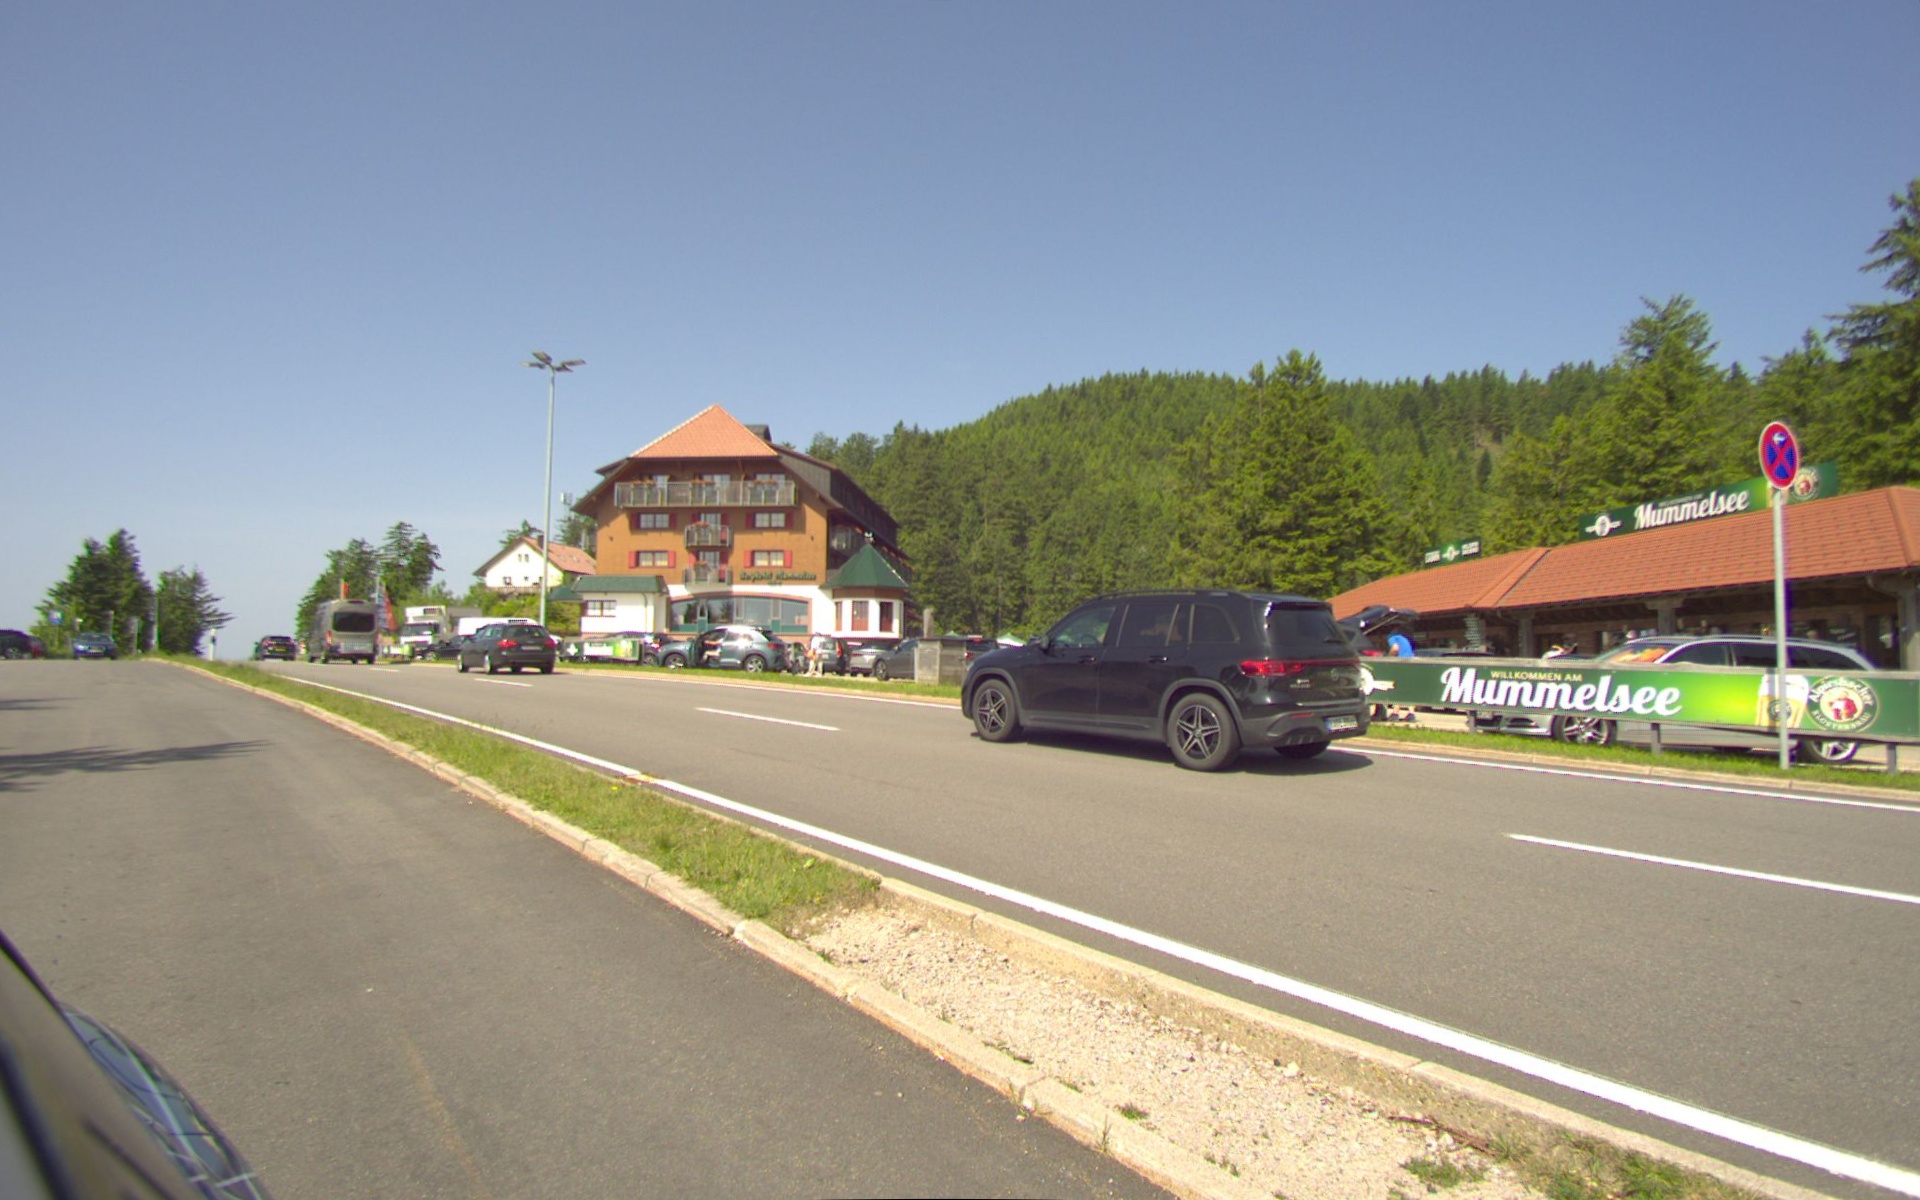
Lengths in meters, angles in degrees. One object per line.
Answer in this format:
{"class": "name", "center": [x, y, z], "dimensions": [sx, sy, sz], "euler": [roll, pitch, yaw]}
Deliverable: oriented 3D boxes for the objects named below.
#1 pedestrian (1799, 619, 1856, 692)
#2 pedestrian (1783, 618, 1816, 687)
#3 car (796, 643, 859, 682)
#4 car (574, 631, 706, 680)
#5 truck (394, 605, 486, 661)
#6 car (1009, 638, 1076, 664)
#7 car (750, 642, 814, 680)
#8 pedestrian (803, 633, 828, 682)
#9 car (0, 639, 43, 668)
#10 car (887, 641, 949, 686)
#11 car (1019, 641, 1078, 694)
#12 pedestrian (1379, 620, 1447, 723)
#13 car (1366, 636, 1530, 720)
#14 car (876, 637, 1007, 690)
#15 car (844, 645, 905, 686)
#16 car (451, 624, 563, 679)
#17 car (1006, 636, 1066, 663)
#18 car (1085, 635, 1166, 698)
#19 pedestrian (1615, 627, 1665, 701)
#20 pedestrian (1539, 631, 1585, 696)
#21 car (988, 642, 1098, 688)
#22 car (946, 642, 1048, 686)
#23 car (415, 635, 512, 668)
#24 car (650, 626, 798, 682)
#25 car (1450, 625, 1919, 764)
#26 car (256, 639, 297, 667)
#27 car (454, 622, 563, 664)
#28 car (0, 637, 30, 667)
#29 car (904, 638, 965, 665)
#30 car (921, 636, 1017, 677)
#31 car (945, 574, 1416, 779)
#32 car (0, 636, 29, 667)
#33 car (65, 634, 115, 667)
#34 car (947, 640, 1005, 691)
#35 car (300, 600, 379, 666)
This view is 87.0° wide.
{"class": "pedestrian", "center": [21.357, 1.365, 24.929], "dimensions": [0.741, 1.750, 0.800], "euler": [0, -2, 12]}
{"class": "pedestrian", "center": [21.513, 1.342, 25.929], "dimensions": [0.662, 1.750, 0.556], "euler": [3, -3, -44]}
{"class": "car", "center": [-5.451, 2.558, 42.050], "dimensions": [1.800, 1.524, 4.089], "euler": [1, -3, 4]}
{"class": "car", "center": [-11.613, 2.027, 36.943], "dimensions": [4.213, 1.641, 1.823], "euler": [1, -3, 2]}
{"class": "truck", "center": [-38.533, 2.493, 75.418], "dimensions": [2.841, 3.850, 9.024], "euler": [-1, -2, -4]}
{"class": "car", "center": [5.957, 3.725, 73.711], "dimensions": [4.782, 1.729, 1.918], "euler": [1, -3, 3]}
{"class": "car", "center": [-7.639, 2.605, 43.770], "dimensions": [1.800, 1.524, 4.089], "euler": [1, -3, 4]}
{"class": "pedestrian", "center": [-4.878, 1.926, 34.123], "dimensions": [0.734, 1.637, 0.685], "euler": [1, -3, -11]}
{"class": "car", "center": [-55.778, 3.065, 58.533], "dimensions": [3.850, 1.627, 1.880], "euler": [3, -3, -39]}
{"class": "car", "center": [-1.489, 2.319, 37.293], "dimensions": [1.800, 1.524, 4.089], "euler": [1, -3, 4]}
{"class": "car", "center": [2.904, 2.211, 33.823], "dimensions": [1.800, 1.641, 4.089], "euler": [1, -3, 4]}
{"class": "pedestrian", "center": [7.524, 1.178, 16.841], "dimensions": [0.735, 1.648, 0.847], "euler": [1, -3, -1]}
{"class": "car", "center": [11.111, 1.744, 23.399], "dimensions": [1.895, 1.729, 4.091], "euler": [1, -3, 2]}
{"class": "car", "center": [-0.616, 1.861, 30.132], "dimensions": [1.695, 1.441, 4.005], "euler": [4, -3, -41]}
{"class": "car", "center": [-3.321, 2.570, 40.215], "dimensions": [1.800, 1.524, 4.089], "euler": [1, -3, 4]}
{"class": "car", "center": [-12.984, 1.444, 28.854], "dimensions": [1.685, 1.449, 4.456], "euler": [3, -3, -41]}
{"class": "car", "center": [5.206, 3.431, 69.683], "dimensions": [4.041, 1.729, 1.918], "euler": [1, -3, 3]}
{"class": "car", "center": [4.926, 1.978, 30.599], "dimensions": [1.894, 1.729, 4.092], "euler": [1, -3, 2]}
{"class": "pedestrian", "center": [19.139, 1.794, 28.484], "dimensions": [0.712, 2.029, 0.928], "euler": [1, -2, -4]}
{"class": "pedestrian", "center": [19.156, 2.020, 32.210], "dimensions": [0.843, 2.029, 0.965], "euler": [1, -2, -3]}
{"class": "car", "center": [3.097, 2.461, 38.537], "dimensions": [4.039, 1.641, 1.823], "euler": [1, -3, 2]}
{"class": "car", "center": [1.495, 2.594, 41.235], "dimensions": [4.039, 1.641, 1.823], "euler": [1, -3, 2]}
{"class": "car", "center": [-25.458, 2.643, 51.982], "dimensions": [4.035, 1.539, 1.825], "euler": [1, -3, -2]}
{"class": "car", "center": [-7.384, 1.698, 31.954], "dimensions": [4.213, 1.641, 1.823], "euler": [1, -3, 2]}
{"class": "car", "center": [8.520, 1.080, 12.103], "dimensions": [4.442, 1.441, 1.720], "euler": [1, -3, 3]}
{"class": "car", "center": [-43.992, 3.398, 65.104], "dimensions": [1.695, 1.695, 4.136], "euler": [3, -3, -41]}
{"class": "car", "center": [-31.827, 3.063, 71.623], "dimensions": [6.844, 2.812, 2.675], "euler": [2, -3, -23]}
{"class": "car", "center": [-53.444, 2.841, 55.189], "dimensions": [3.850, 1.627, 1.880], "euler": [3, -3, -39]}
{"class": "car", "center": [-1.733, 3.496, 69.132], "dimensions": [4.041, 1.729, 1.918], "euler": [1, -3, 3]}
{"class": "car", "center": [0.401, 2.443, 44.102], "dimensions": [4.039, 1.641, 1.823], "euler": [1, -3, 2]}
{"class": "car", "center": [2.053, 0.705, 10.595], "dimensions": [1.968, 1.660, 4.574], "euler": [3, -3, -40]}
{"class": "car", "center": [-51.722, 2.680, 53.228], "dimensions": [3.850, 1.627, 1.880], "euler": [3, -3, -39]}
{"class": "car", "center": [-45.037, 2.579, 52.405], "dimensions": [1.847, 1.627, 3.918], "euler": [3, -3, -41]}
{"class": "car", "center": [0.606, 2.233, 35.252], "dimensions": [1.800, 1.641, 4.089], "euler": [1, -3, 4]}
{"class": "car", "center": [-27.654, 1.470, 44.995], "dimensions": [1.986, 2.772, 5.925], "euler": [3, -3, -41]}
